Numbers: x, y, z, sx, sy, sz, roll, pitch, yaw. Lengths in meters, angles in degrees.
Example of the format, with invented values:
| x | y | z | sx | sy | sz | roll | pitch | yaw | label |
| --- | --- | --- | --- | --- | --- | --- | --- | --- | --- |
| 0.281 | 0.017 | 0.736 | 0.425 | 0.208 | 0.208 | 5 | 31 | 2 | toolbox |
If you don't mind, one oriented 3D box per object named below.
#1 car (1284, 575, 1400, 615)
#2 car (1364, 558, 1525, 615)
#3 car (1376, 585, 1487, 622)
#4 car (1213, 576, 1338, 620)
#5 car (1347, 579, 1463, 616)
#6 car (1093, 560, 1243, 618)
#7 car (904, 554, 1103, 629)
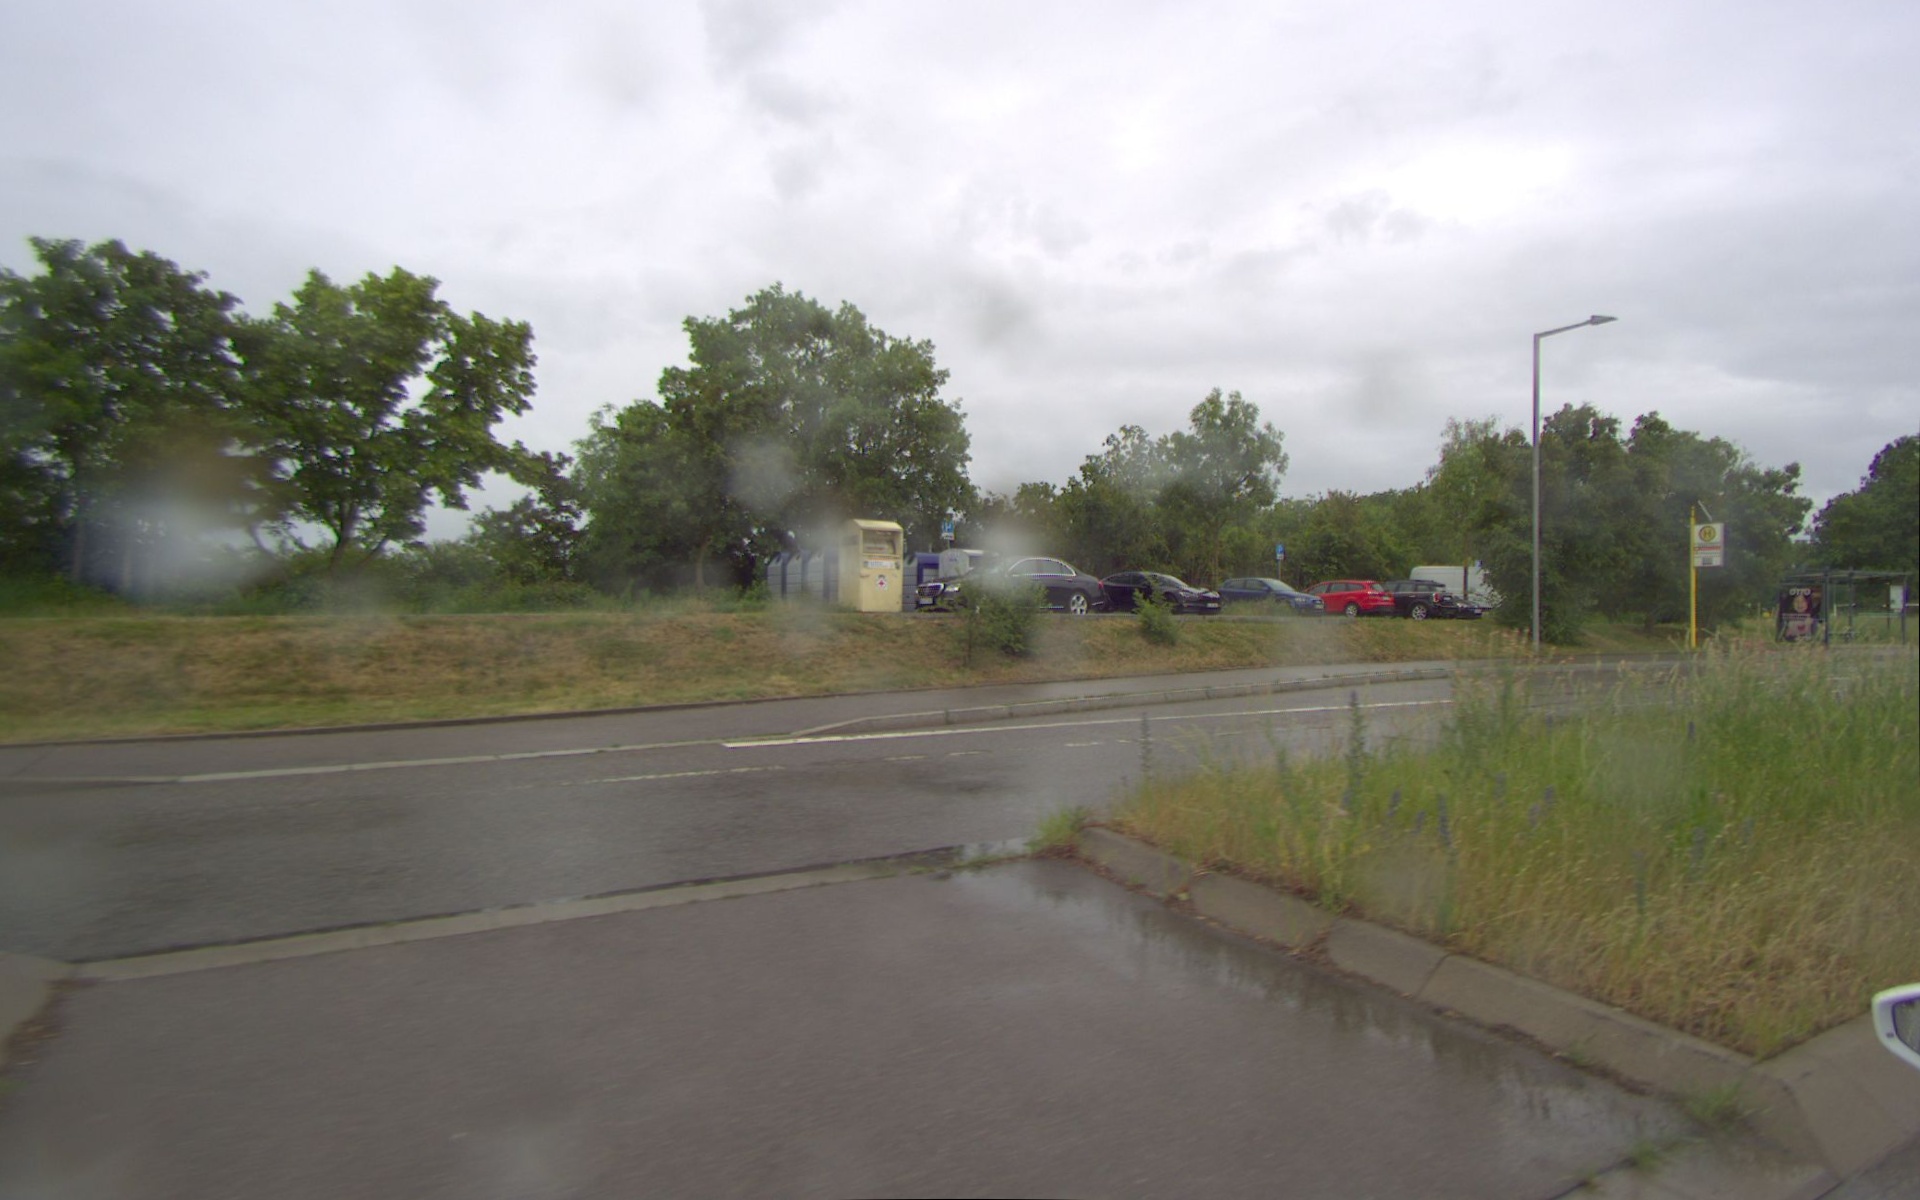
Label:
| x | y | z | sx | sy | sz | roll | pitch | yaw | label |
| --- | --- | --- | --- | --- | --- | --- | --- | --- | --- |
| 14.840 | -0.153 | 39.165 | 1.827 | 1.489 | 3.966 | 0 | -1 | -31 | car |
| 22.473 | -0.618 | 46.919 | 2.118 | 2.429 | 6.510 | 2 | 0 | -36 | car |
| 19.667 | 0.111 | 42.030 | 1.633 | 1.382 | 3.967 | 1 | 2 | -30 | car |
| 11.045 | -0.108 | 35.426 | 1.877 | 1.382 | 3.967 | 0 | 2 | -30 | car |
| 17.795 | -0.078 | 40.333 | 1.826 | 1.382 | 3.968 | 0 | -1 | -30 | car |
| 6.499 | -0.341 | 31.932 | 1.983 | 1.716 | 4.680 | 1 | 0 | -32 | car |
| 1.060 | -0.239 | 23.282 | 4.493 | 1.590 | 1.681 | -1 | 3 | -34 | car |
